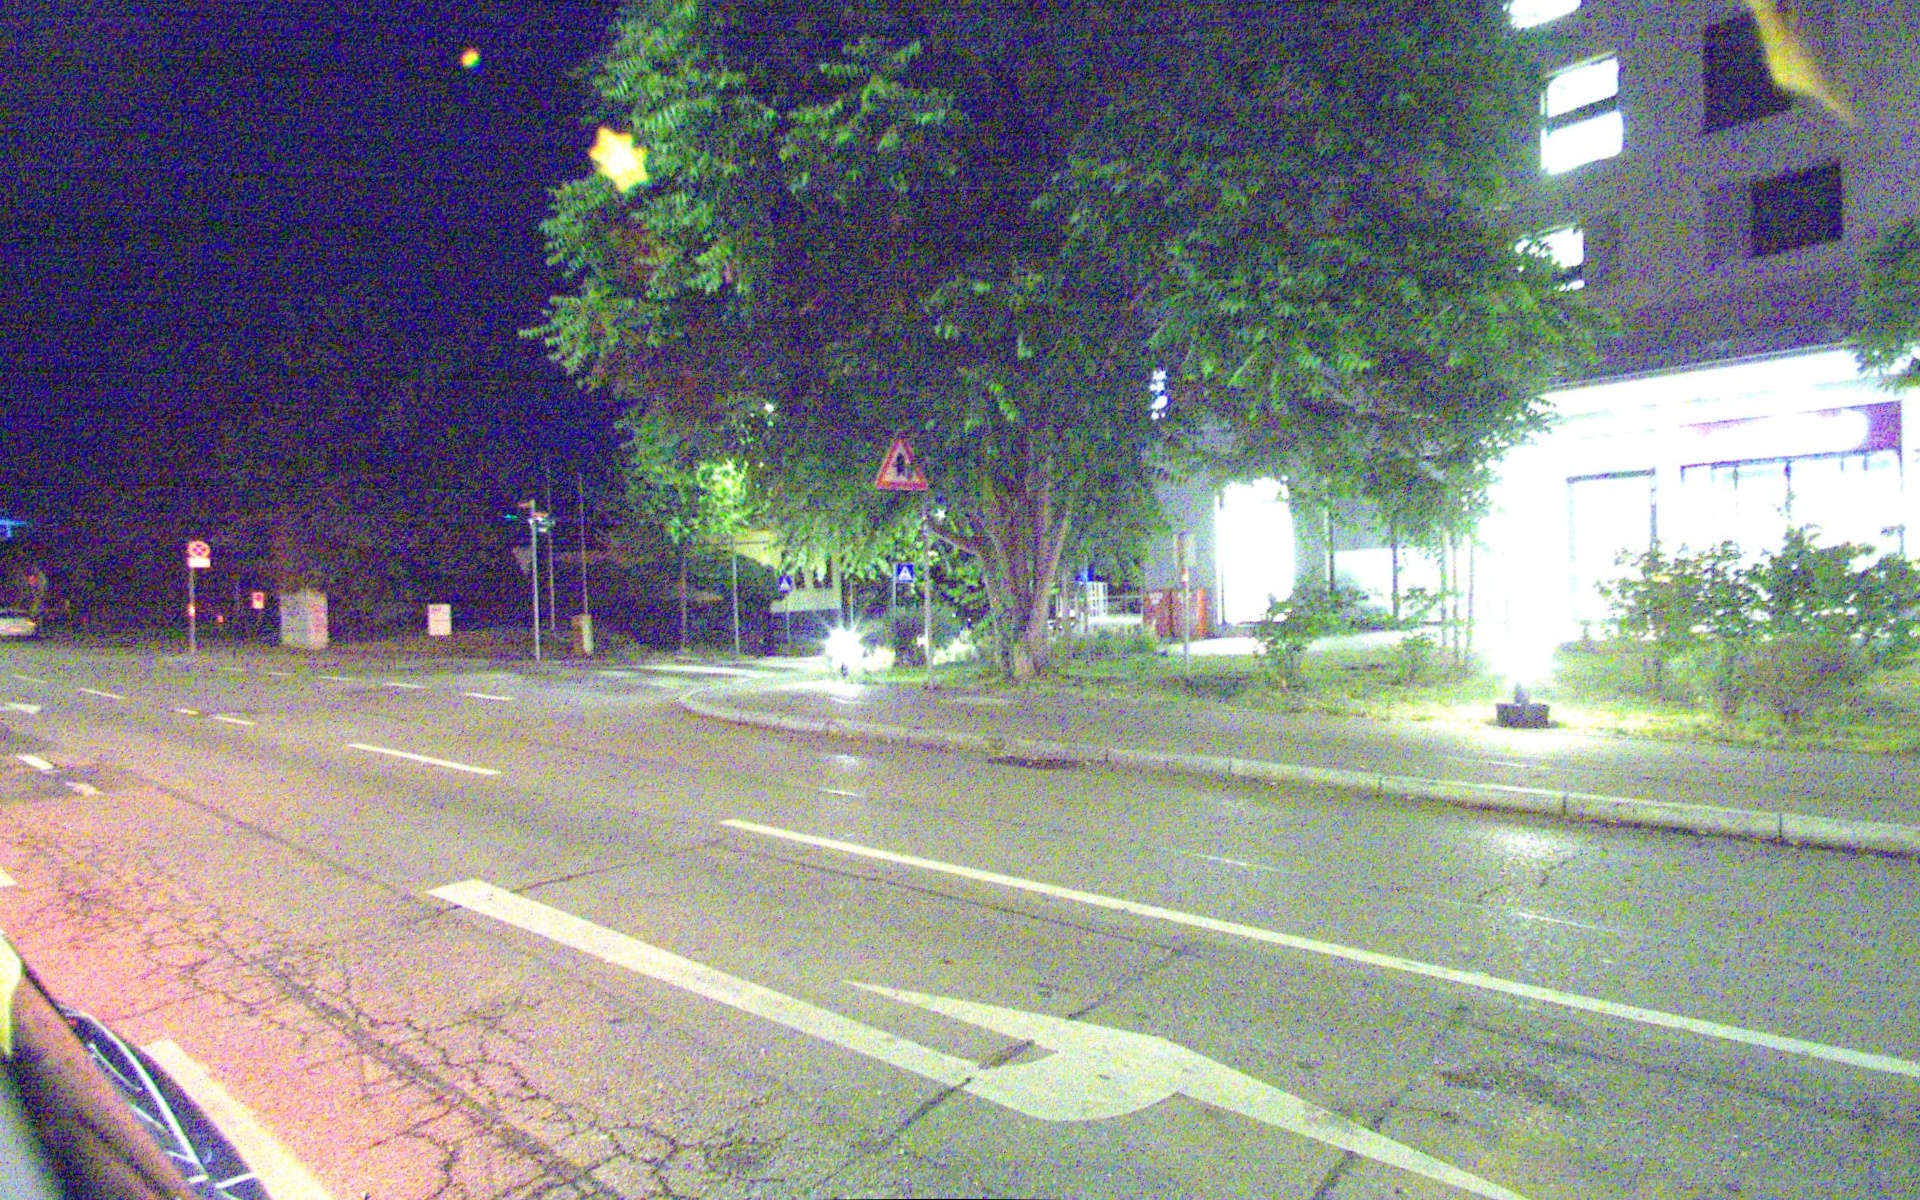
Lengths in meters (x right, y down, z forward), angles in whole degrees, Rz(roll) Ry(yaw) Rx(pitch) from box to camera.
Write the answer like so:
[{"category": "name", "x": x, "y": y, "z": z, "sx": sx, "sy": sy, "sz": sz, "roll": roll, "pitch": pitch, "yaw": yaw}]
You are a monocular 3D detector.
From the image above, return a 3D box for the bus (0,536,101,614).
[{"category": "bus", "x": -88.485, "y": -2.174, "z": 97.949, "sx": 14.776, "sy": 6.990, "sz": 6.056, "roll": -1, "pitch": 0, "yaw": 41}]

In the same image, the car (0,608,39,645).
[{"category": "car", "x": -43.112, "y": 1.192, "z": 45.612, "sx": 3.995, "sy": 1.604, "sz": 1.784, "roll": -1, "pitch": 0, "yaw": 39}]
